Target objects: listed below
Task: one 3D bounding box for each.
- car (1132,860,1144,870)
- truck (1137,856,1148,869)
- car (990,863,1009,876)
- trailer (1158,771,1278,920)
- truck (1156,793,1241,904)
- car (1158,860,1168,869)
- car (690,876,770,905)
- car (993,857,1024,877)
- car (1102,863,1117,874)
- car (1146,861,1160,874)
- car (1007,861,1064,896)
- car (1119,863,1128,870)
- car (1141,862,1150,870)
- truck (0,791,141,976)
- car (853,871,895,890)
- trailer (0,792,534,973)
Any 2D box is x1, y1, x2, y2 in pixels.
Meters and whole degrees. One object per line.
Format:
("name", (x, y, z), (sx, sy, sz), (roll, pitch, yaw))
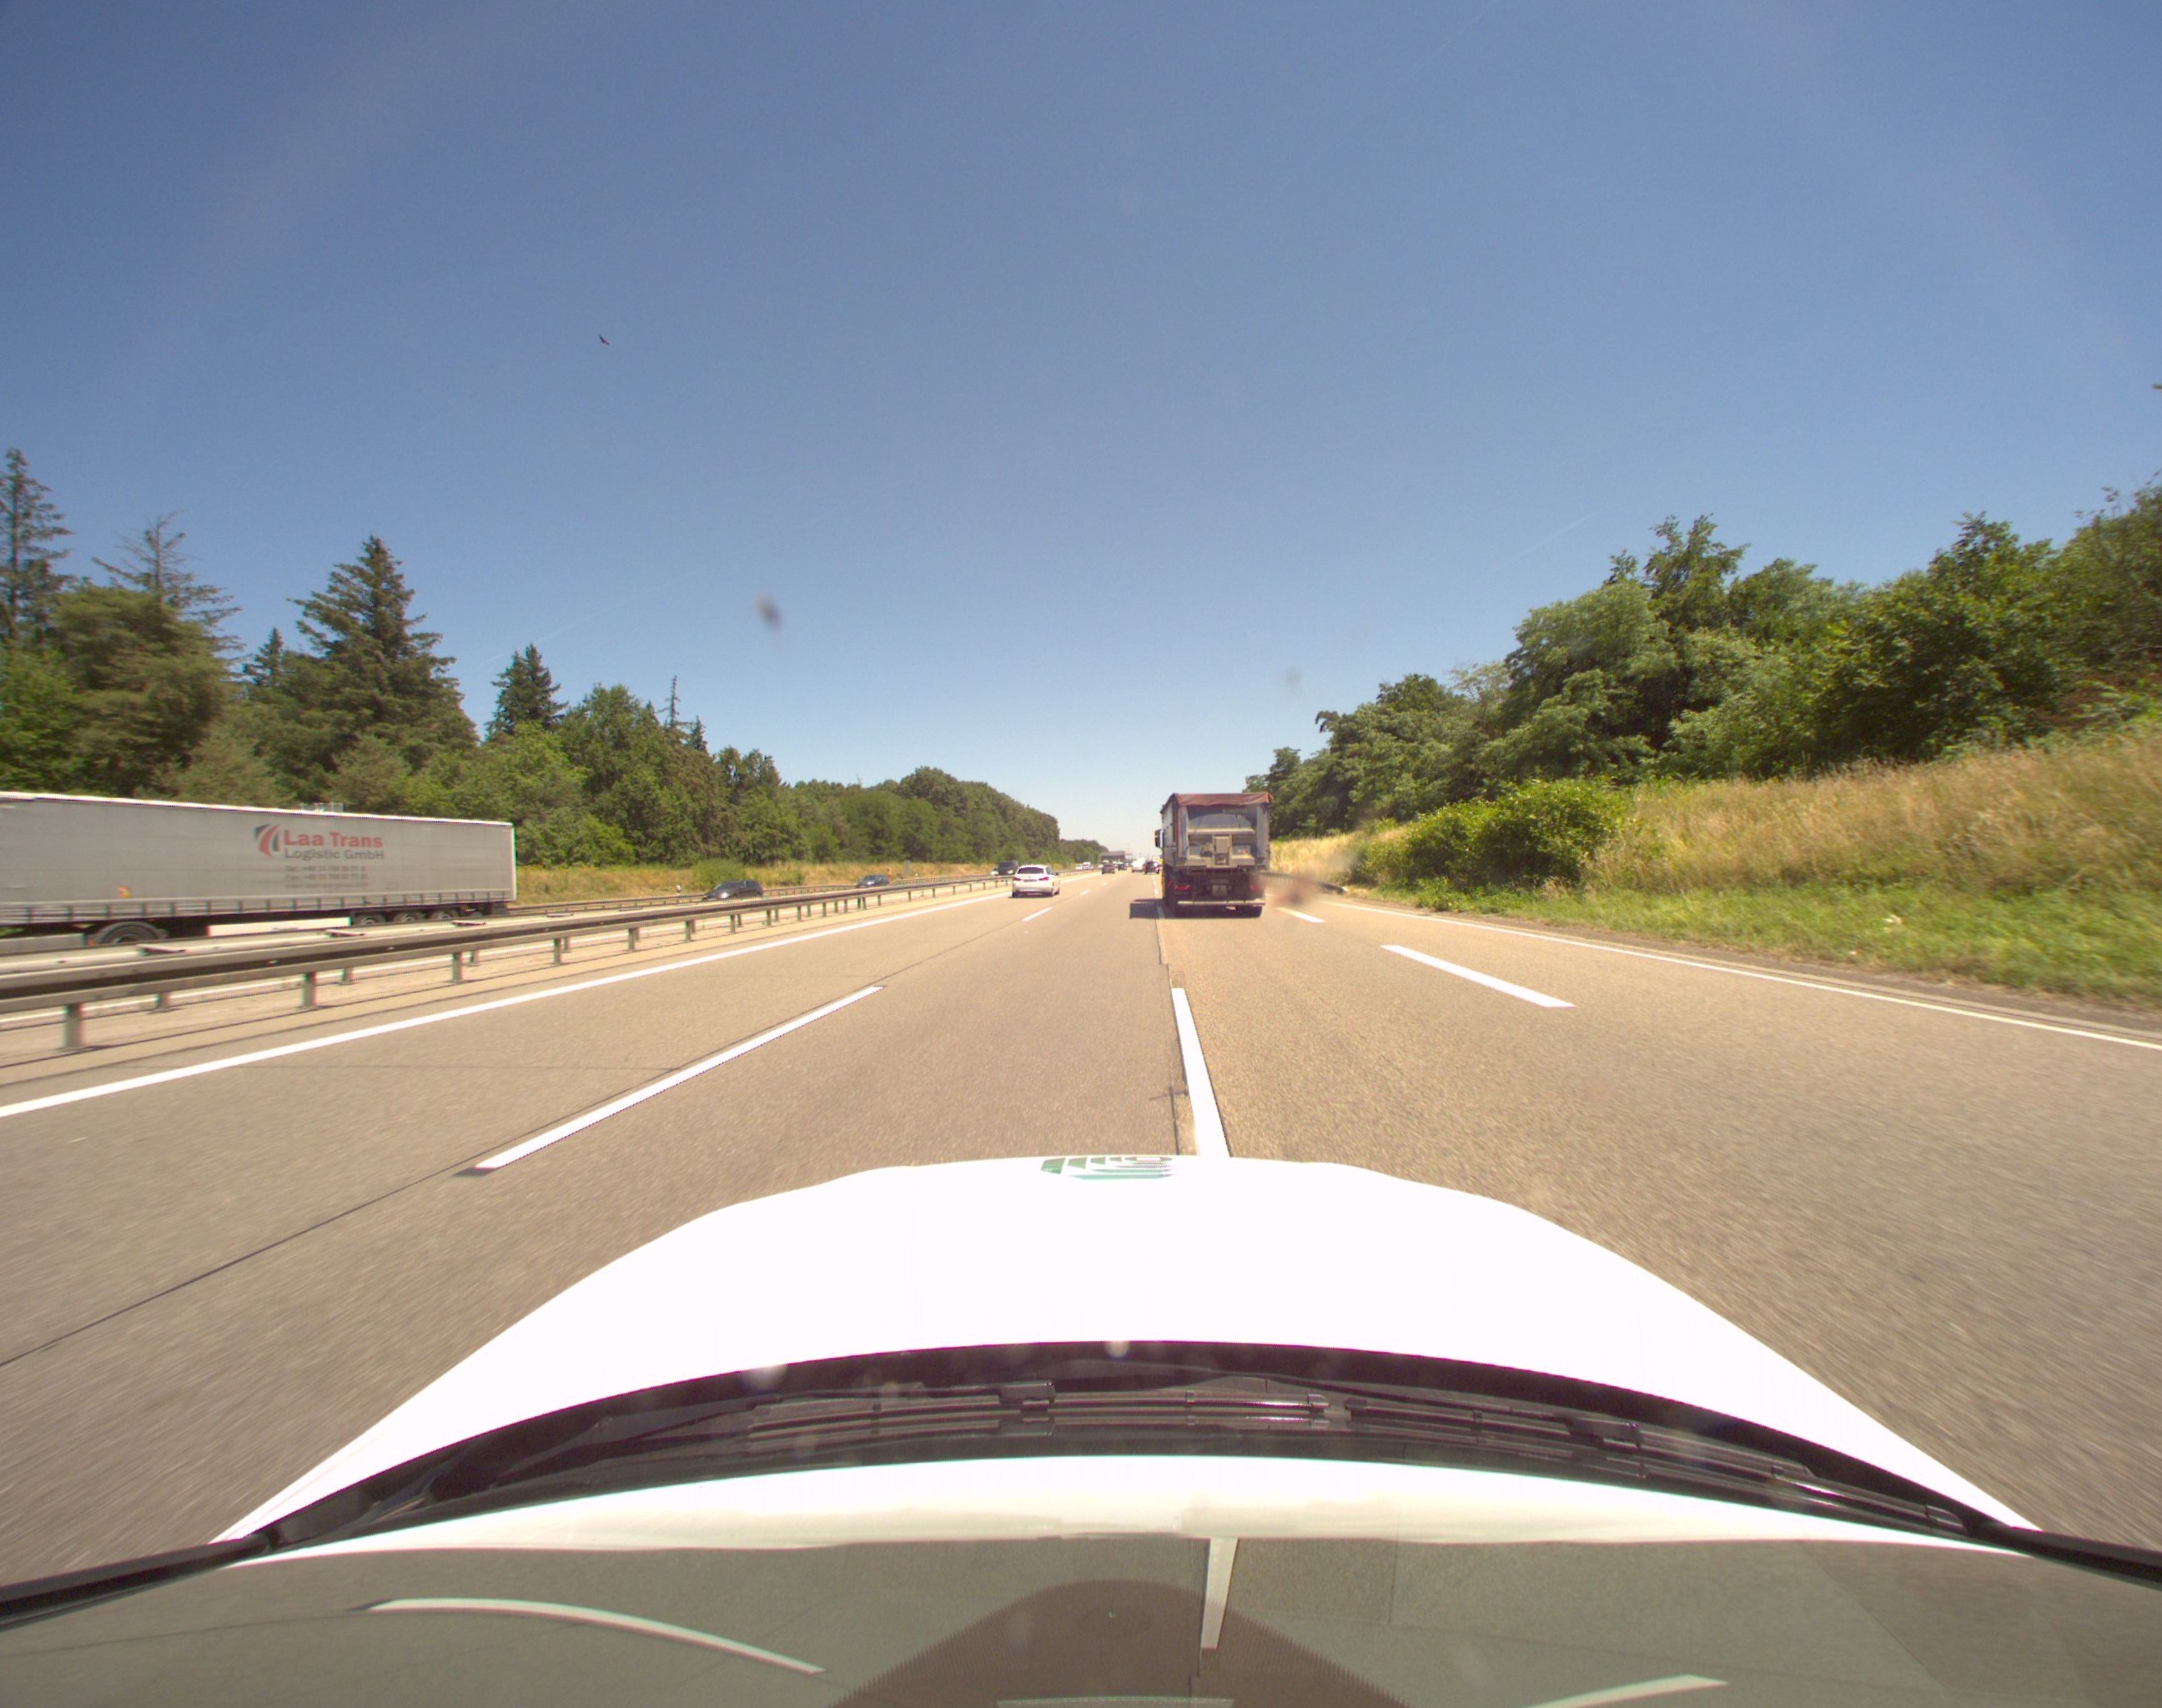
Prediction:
("car", (9.093, 1.717, 129.859), (1.885, 1.469, 4.267), (0, 0, 5))
("truck", (13.904, 1.933, 185.112), (2.418, 2.884, 6.210), (-1, -1, 3))
("car", (-12.536, 2.428, 124.952), (1.984, 1.828, 4.648), (-4, -1, 5))
("trailer", (3.944, -0.214, 25.507), (2.725, 3.758, 9.118), (-1, 0, 4))
("truck", (4.307, -0.179, 31.015), (2.673, 3.758, 5.950), (-1, 0, 4))
("car", (14.575, 1.906, 145.015), (1.812, 1.492, 3.743), (-1, -1, 6))
("car", (-20.308, 2.092, 47.388), (2.076, 1.463, 4.949), (-2, -1, 5))
("car", (-7.444, 1.332, 83.797), (2.269, 1.940, 4.949), (-2, -1, 5))
("car", (4.076, 2.092, 116.410), (1.823, 1.431, 5.006), (-1, 0, 5))
("car", (9.678, 1.853, 109.795), (1.824, 1.672, 4.003), (0, -1, 3))
("car", (-2.071, 1.128, 38.628), (1.954, 1.504, 5.411), (-1, -1, 5))
("car", (8.984, 2.624, 171.922), (1.867, 1.580, 3.933), (-1, 0, 5))
("car", (11.786, 2.225, 148.786), (1.726, 1.492, 3.742), (-1, -1, 5))
("truck", (-24.506, 0.644, 17.063), (3.152, 3.931, 5.410), (-1, -1, 6))
("car", (-17.568, 2.231, 69.451), (1.918, 1.463, 4.949), (-2, -1, 5))
("trailer", (-23.613, 0.701, 24.787), (3.152, 3.931, 13.989), (-1, -1, 7))
